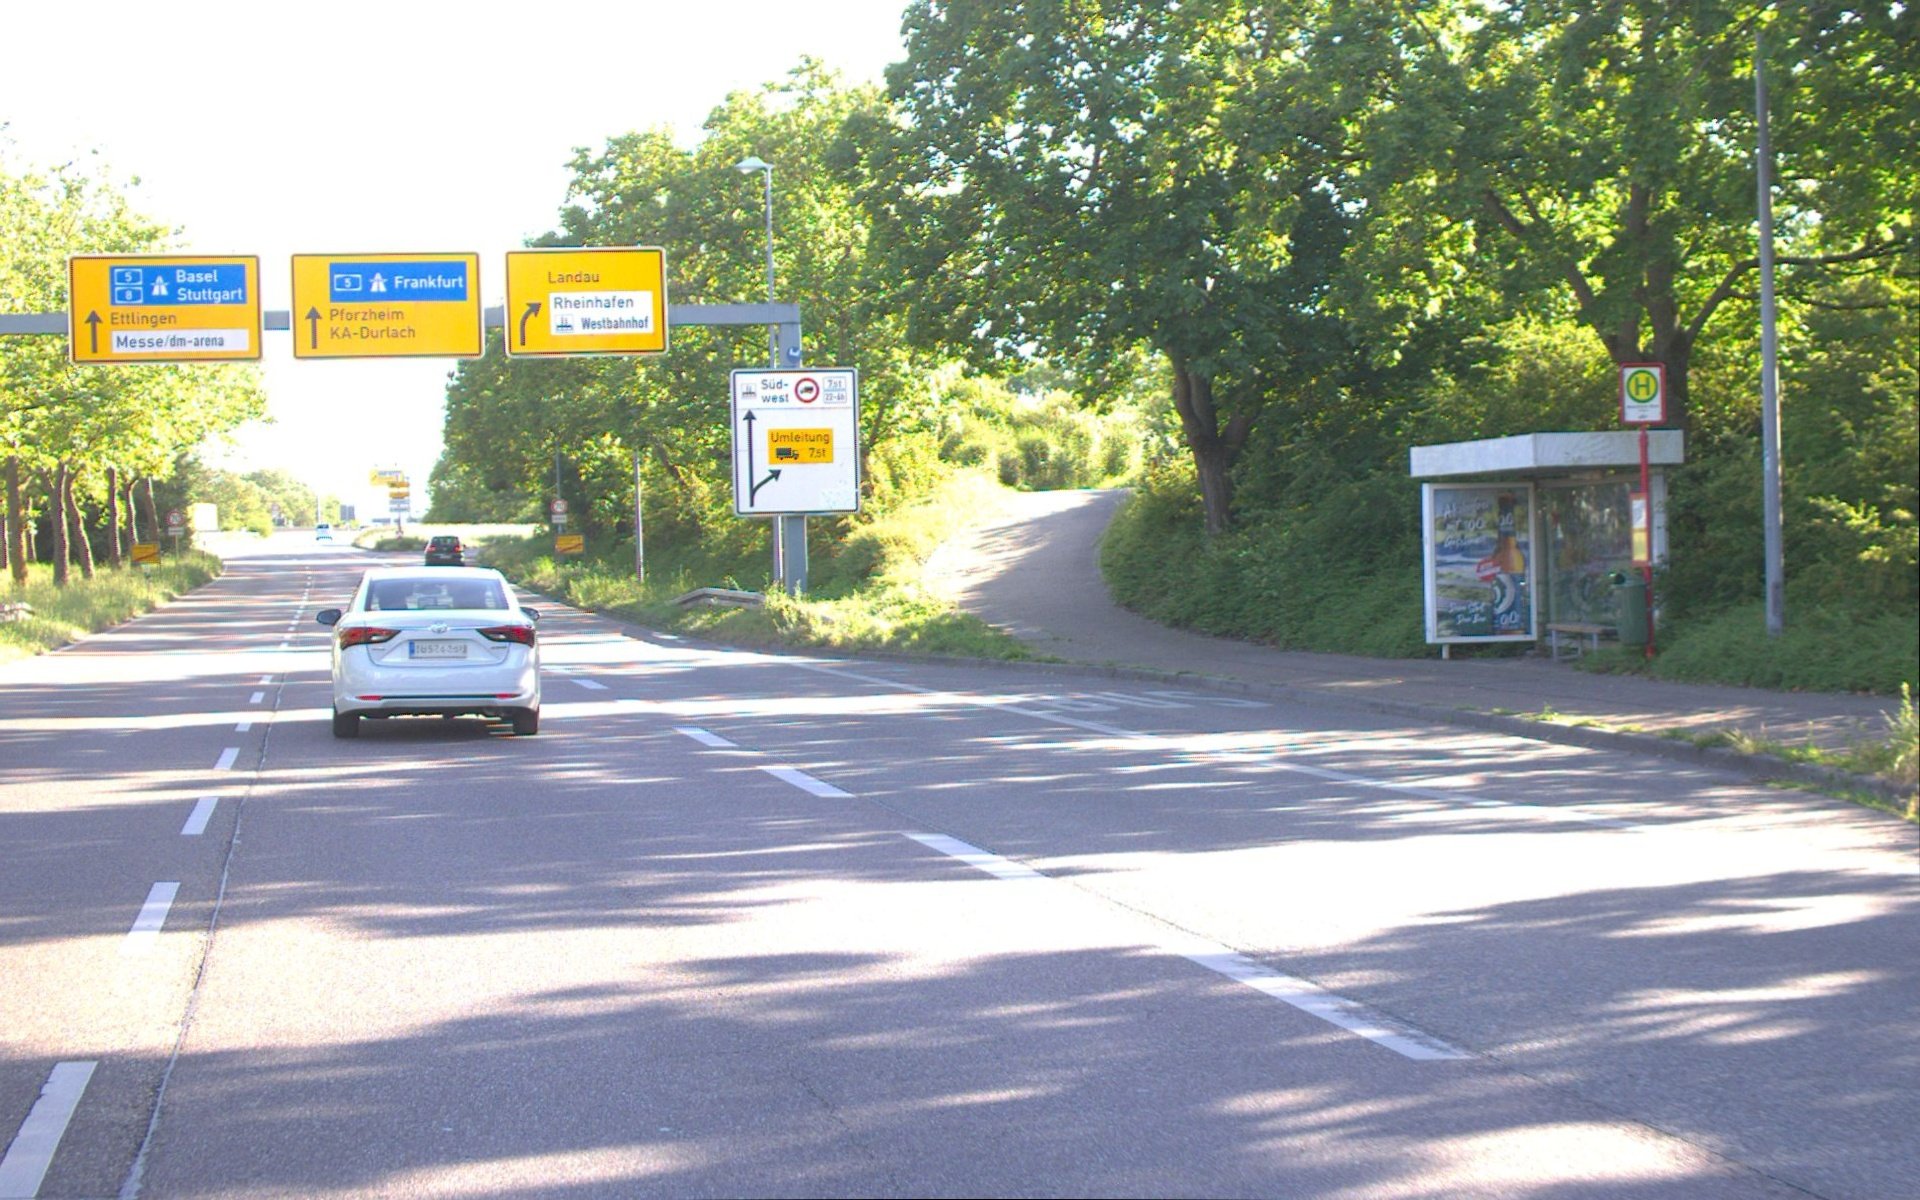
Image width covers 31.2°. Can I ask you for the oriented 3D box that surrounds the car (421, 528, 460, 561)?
[{"bbox_3d":[-23.967,-2.571,158.556,1.767,1.459,4.367,-1,1,-9],"label":"car"}]

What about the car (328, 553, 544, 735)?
[{"bbox_3d":[-4.723,0.337,30.989,1.767,1.459,4.367,-1,1,-9],"label":"car"}]
